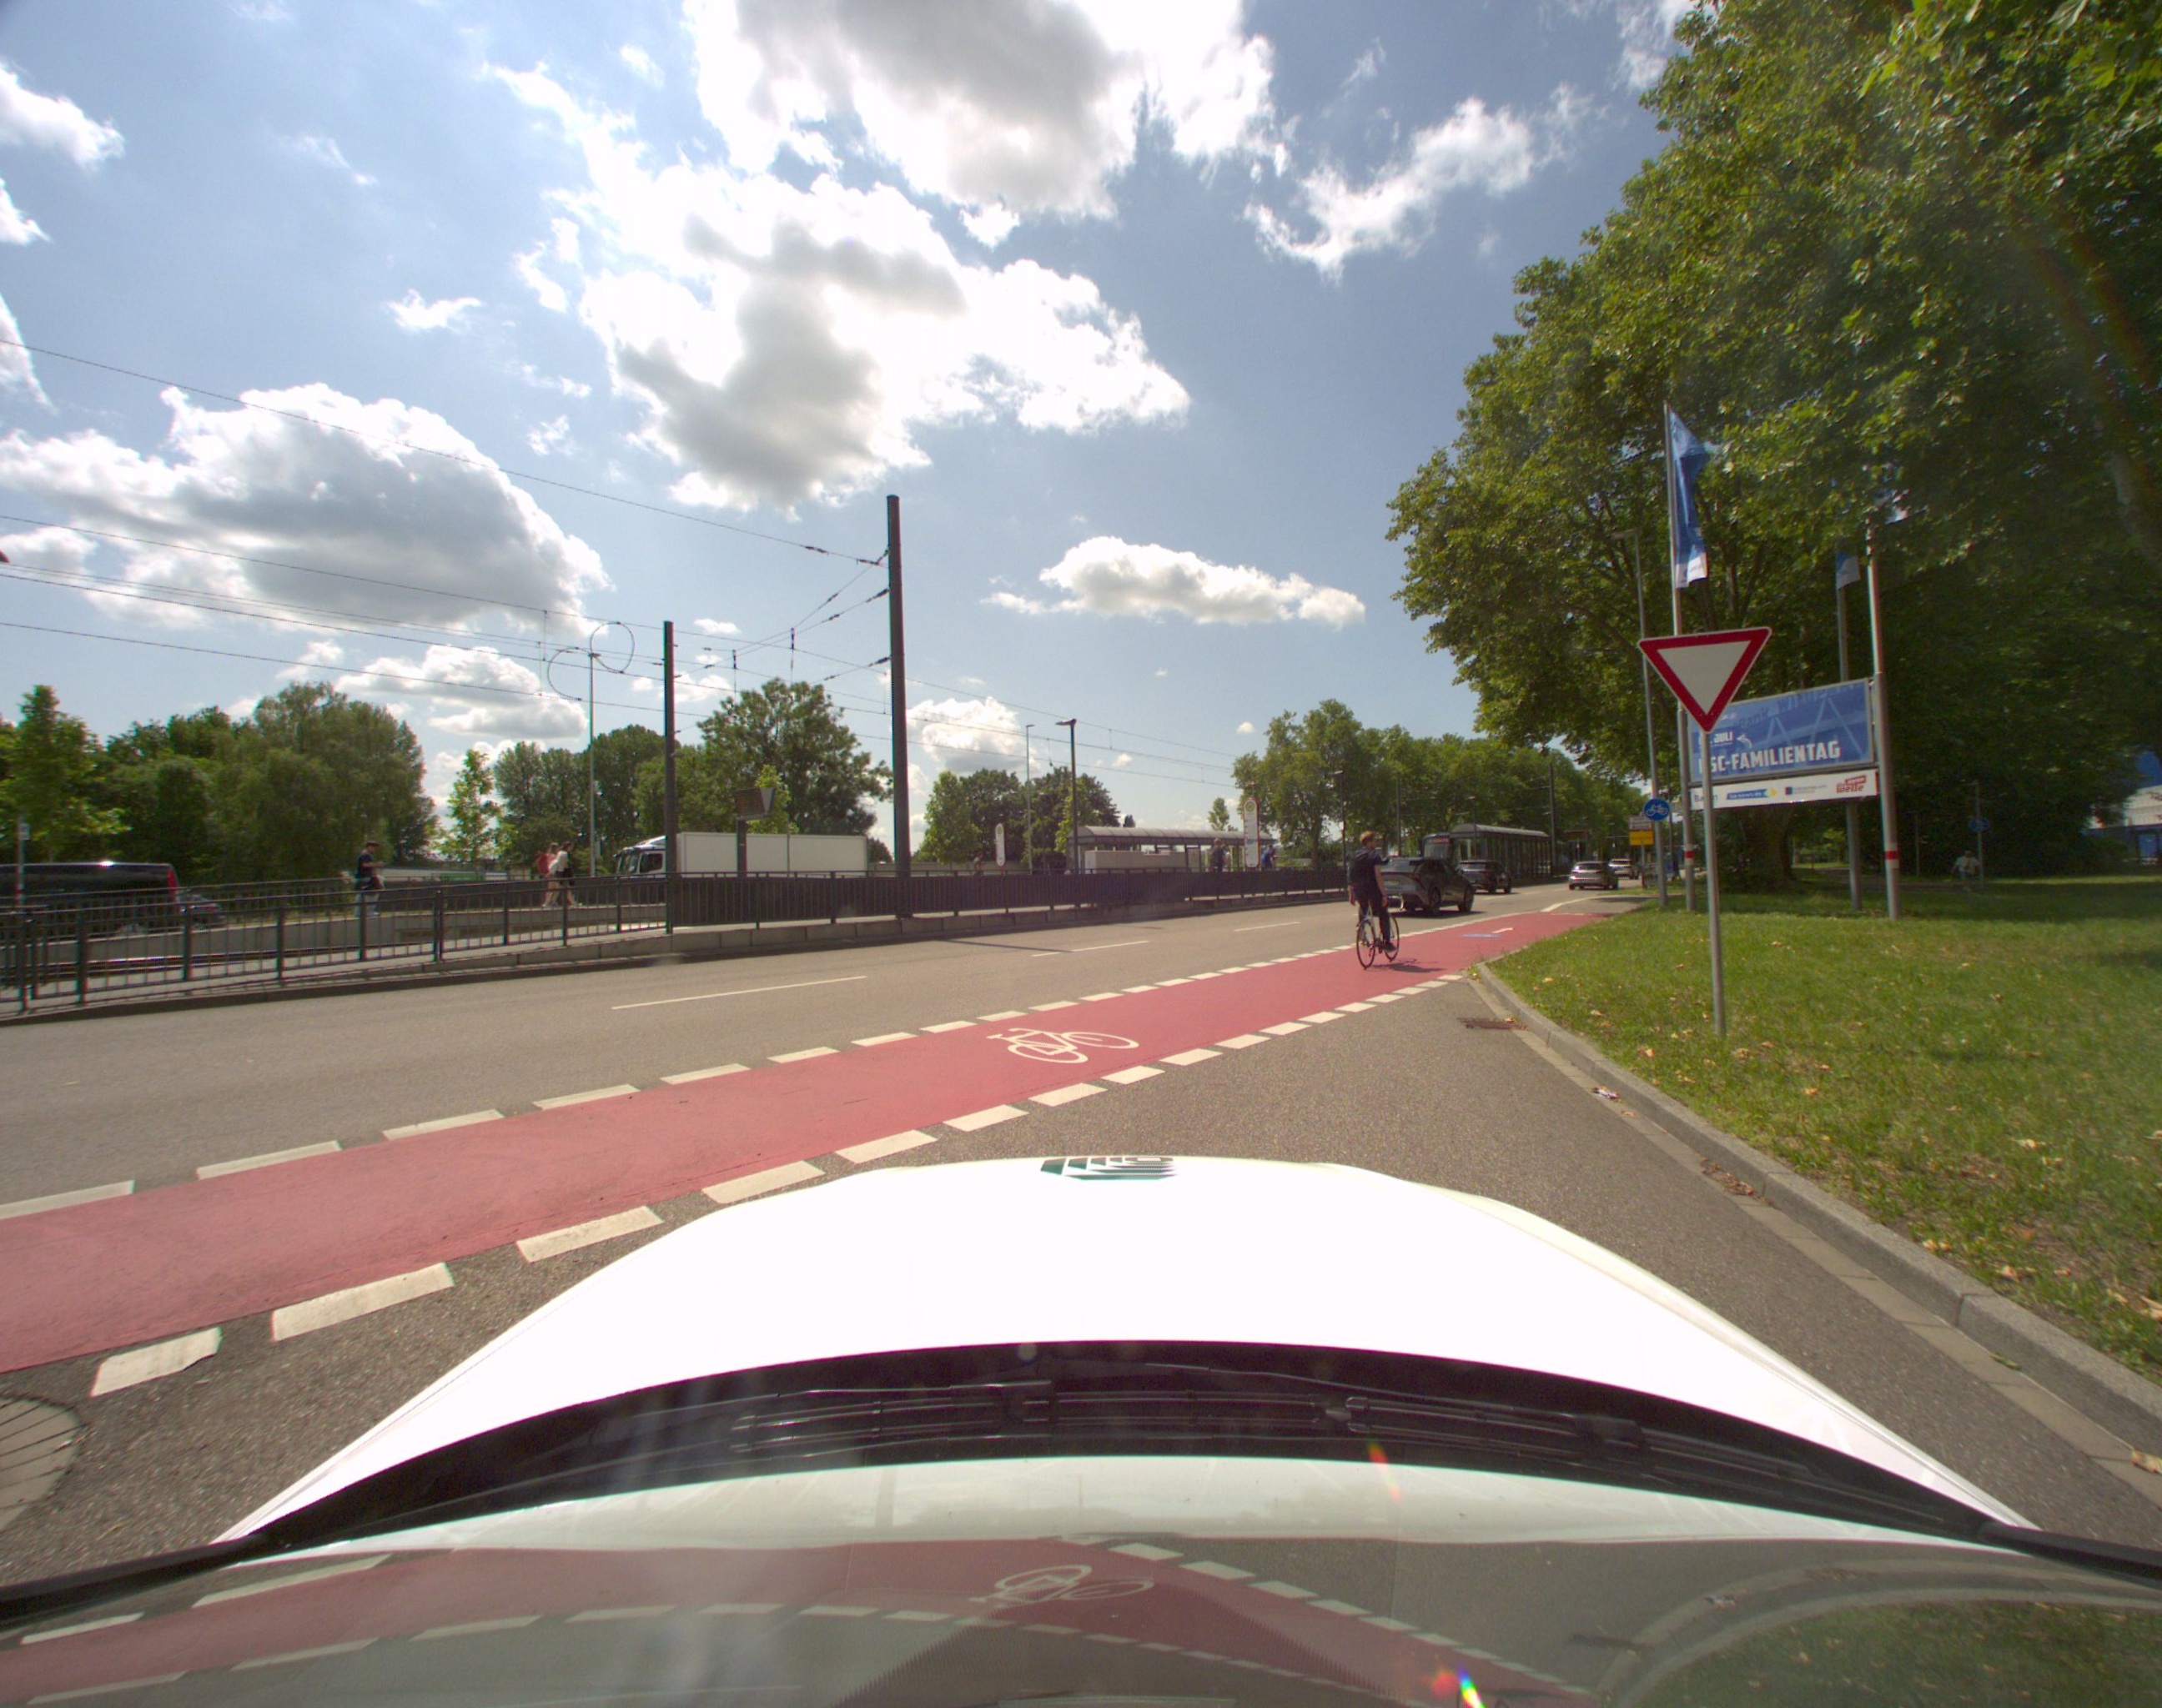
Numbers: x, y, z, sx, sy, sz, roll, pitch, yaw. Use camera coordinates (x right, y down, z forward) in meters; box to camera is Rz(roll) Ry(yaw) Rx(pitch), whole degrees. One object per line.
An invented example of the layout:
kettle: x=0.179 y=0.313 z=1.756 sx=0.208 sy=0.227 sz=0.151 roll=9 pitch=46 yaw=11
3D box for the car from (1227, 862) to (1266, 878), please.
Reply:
car: x=18.744 y=1.821 z=92.290 sx=3.878 sy=1.662 sz=1.921 roll=-2 pitch=0 yaw=44

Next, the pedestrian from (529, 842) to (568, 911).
pedestrian: x=-13.705 y=0.573 z=20.949 sx=0.712 sy=1.721 sz=0.593 roll=-1 pitch=-1 yaw=-44

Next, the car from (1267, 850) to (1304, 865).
car: x=24.462 y=0.454 z=97.512 sx=3.878 sy=1.662 sz=1.921 roll=-2 pitch=0 yaw=44

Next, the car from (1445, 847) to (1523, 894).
car: x=18.456 y=0.729 z=37.234 sx=1.975 sy=1.989 sz=4.389 roll=-2 pitch=-1 yaw=43

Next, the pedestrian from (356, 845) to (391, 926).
pedestrian: x=-15.458 y=0.673 z=17.798 sx=0.527 sy=1.721 sz=0.721 roll=-1 pitch=-1 yaw=-43

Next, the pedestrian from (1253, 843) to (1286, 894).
pedestrian: x=6.596 y=0.503 z=28.531 sx=0.727 sy=1.756 sz=0.935 roll=-2 pitch=-1 yaw=43

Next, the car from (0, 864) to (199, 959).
car: x=-21.927 y=1.184 z=17.025 sx=1.975 sy=1.820 sz=4.695 roll=-2 pitch=-1 yaw=43

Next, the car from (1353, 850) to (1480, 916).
car: x=9.524 y=0.795 z=22.945 sx=1.880 sy=1.675 sz=4.547 roll=-2 pitch=-2 yaw=42

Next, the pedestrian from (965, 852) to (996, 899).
pedestrian: x=-3.896 y=0.821 z=31.535 sx=0.727 sy=1.807 sz=0.935 roll=-2 pitch=-1 yaw=43

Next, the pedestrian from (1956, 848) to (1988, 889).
pedestrian: x=36.788 y=0.595 z=33.635 sx=0.768 sy=1.696 sz=0.897 roll=-2 pitch=-2 yaw=42

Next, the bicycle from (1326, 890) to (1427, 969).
bicycle: x=4.305 y=1.042 z=11.771 sx=0.614 sy=0.999 sz=2.035 roll=-1 pitch=-2 yaw=43

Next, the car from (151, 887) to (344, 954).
car: x=-26.457 y=2.035 z=25.993 sx=1.861 sy=1.774 sz=4.186 roll=-2 pitch=-1 yaw=42

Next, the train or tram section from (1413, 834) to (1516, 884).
train or tram section: x=27.793 y=0.387 z=58.412 sx=3.008 sy=3.186 sz=14.188 roll=-3 pitch=-2 yaw=40

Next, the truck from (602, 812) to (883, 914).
truck: x=-15.354 y=0.384 z=38.329 sx=2.915 sy=4.105 sz=12.068 roll=-2 pitch=-1 yaw=44

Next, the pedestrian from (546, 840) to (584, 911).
pedestrian: x=-12.988 y=0.518 z=20.499 sx=0.682 sy=1.748 sz=0.629 roll=0 pitch=0 yaw=-44

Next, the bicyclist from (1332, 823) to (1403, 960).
bicyclist: x=4.065 y=0.504 z=11.530 sx=0.603 sy=1.846 sz=0.929 roll=-2 pitch=-1 yaw=43

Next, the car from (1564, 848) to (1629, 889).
car: x=26.552 y=0.708 z=41.898 sx=1.975 sy=1.989 sz=4.389 roll=-2 pitch=-1 yaw=43

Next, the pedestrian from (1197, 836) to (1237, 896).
pedestrian: x=4.487 y=0.388 z=26.879 sx=0.865 sy=1.939 sz=1.000 roll=-2 pitch=-1 yaw=42

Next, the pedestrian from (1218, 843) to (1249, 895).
pedestrian: x=5.598 y=0.545 z=29.928 sx=0.875 sy=1.871 sz=0.673 roll=-1 pitch=0 yaw=-16
